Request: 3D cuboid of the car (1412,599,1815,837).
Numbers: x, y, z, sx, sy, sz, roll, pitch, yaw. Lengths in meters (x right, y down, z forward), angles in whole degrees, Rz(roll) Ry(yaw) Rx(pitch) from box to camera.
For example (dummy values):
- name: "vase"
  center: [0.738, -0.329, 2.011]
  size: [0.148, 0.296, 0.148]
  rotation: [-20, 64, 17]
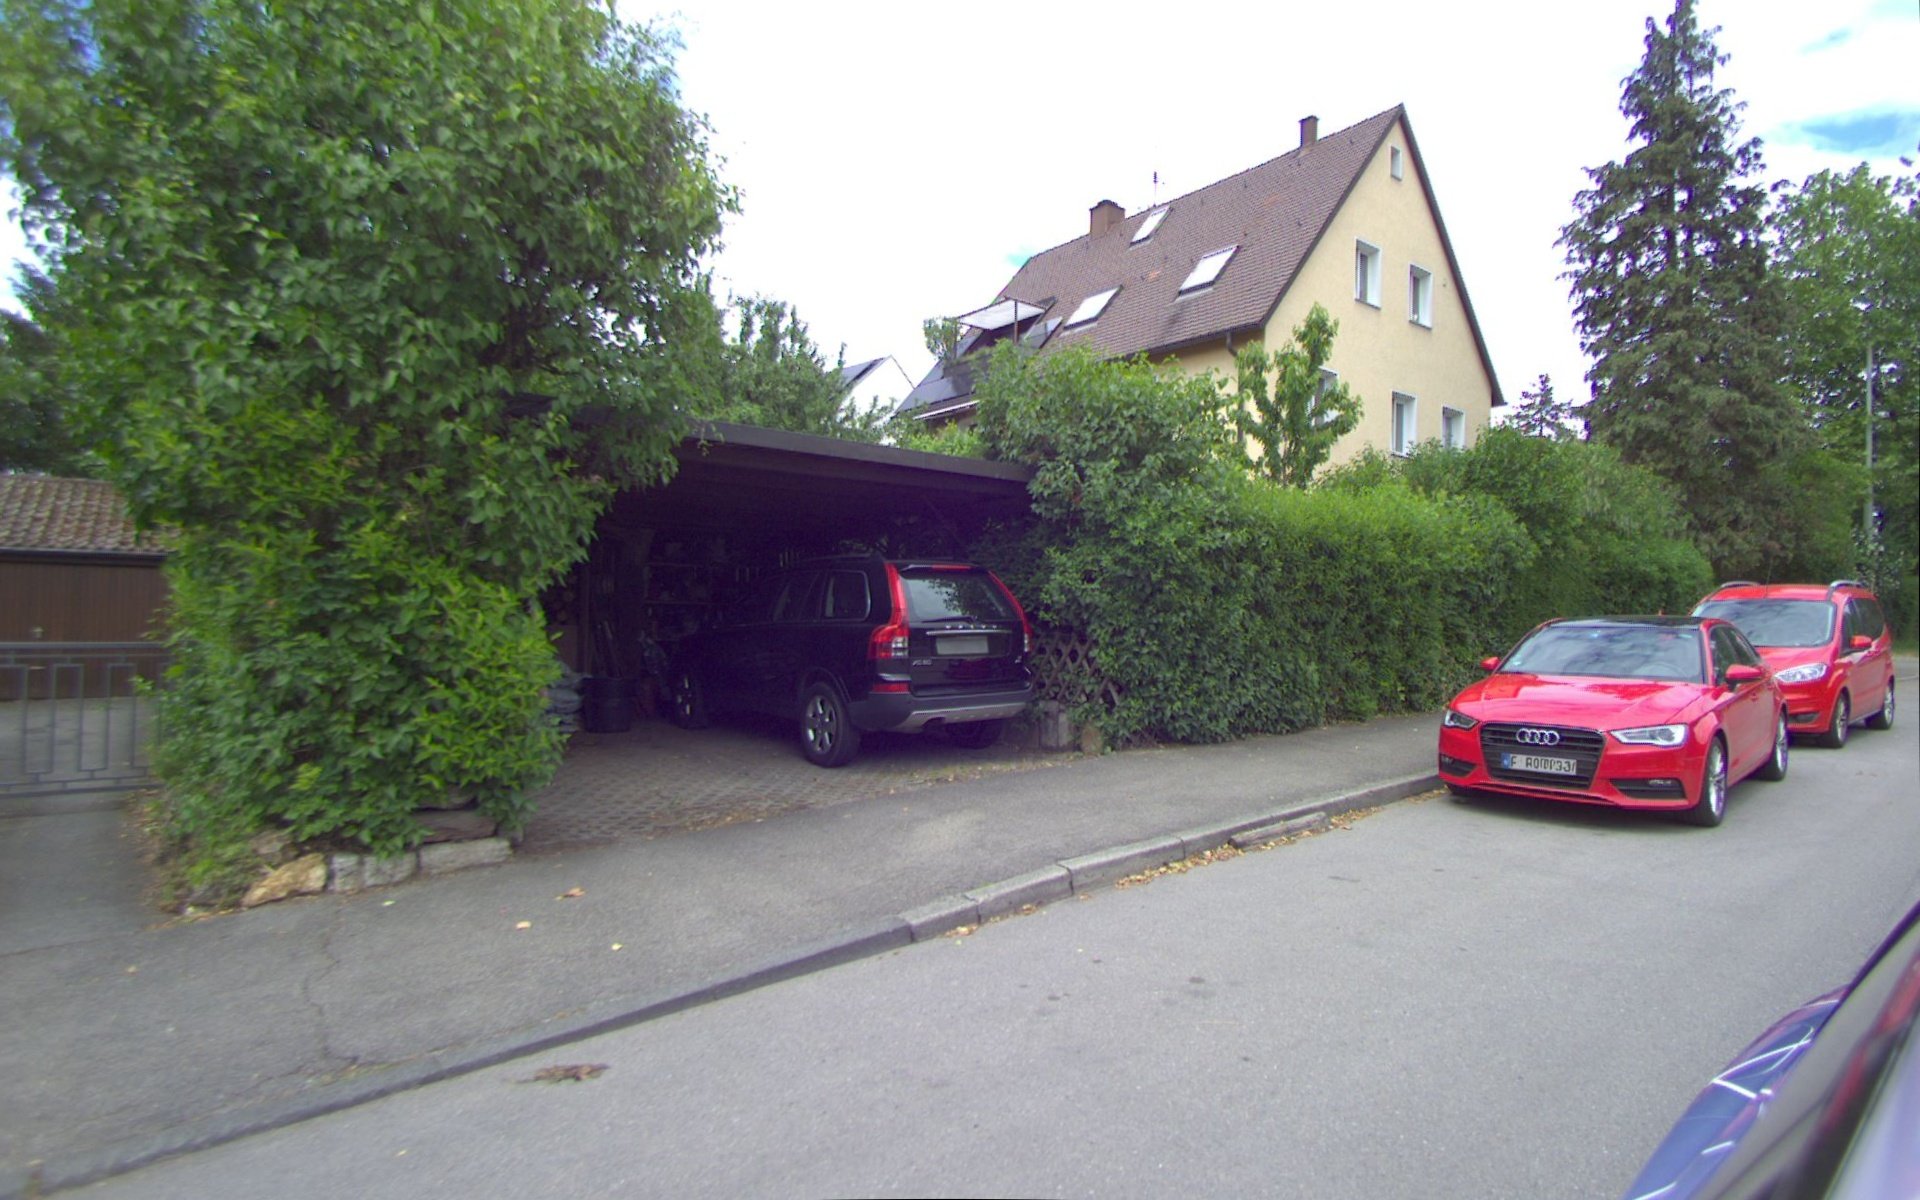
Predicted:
- name: "car"
  center: [5.507, 0.743, 8.283]
  size: [4.319, 1.448, 1.702]
  rotation: [1, -1, -42]

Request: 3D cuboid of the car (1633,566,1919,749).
- name: "car"
  center: [9.643, 0.579, 11.827]
  size: [4.085, 1.788, 1.771]
  rotation: [0, -1, -38]

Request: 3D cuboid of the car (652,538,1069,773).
- name: "car"
  center: [-1.203, 0.416, 9.979]
  size: [1.897, 1.774, 4.486]
  rotation: [1, 0, -40]
